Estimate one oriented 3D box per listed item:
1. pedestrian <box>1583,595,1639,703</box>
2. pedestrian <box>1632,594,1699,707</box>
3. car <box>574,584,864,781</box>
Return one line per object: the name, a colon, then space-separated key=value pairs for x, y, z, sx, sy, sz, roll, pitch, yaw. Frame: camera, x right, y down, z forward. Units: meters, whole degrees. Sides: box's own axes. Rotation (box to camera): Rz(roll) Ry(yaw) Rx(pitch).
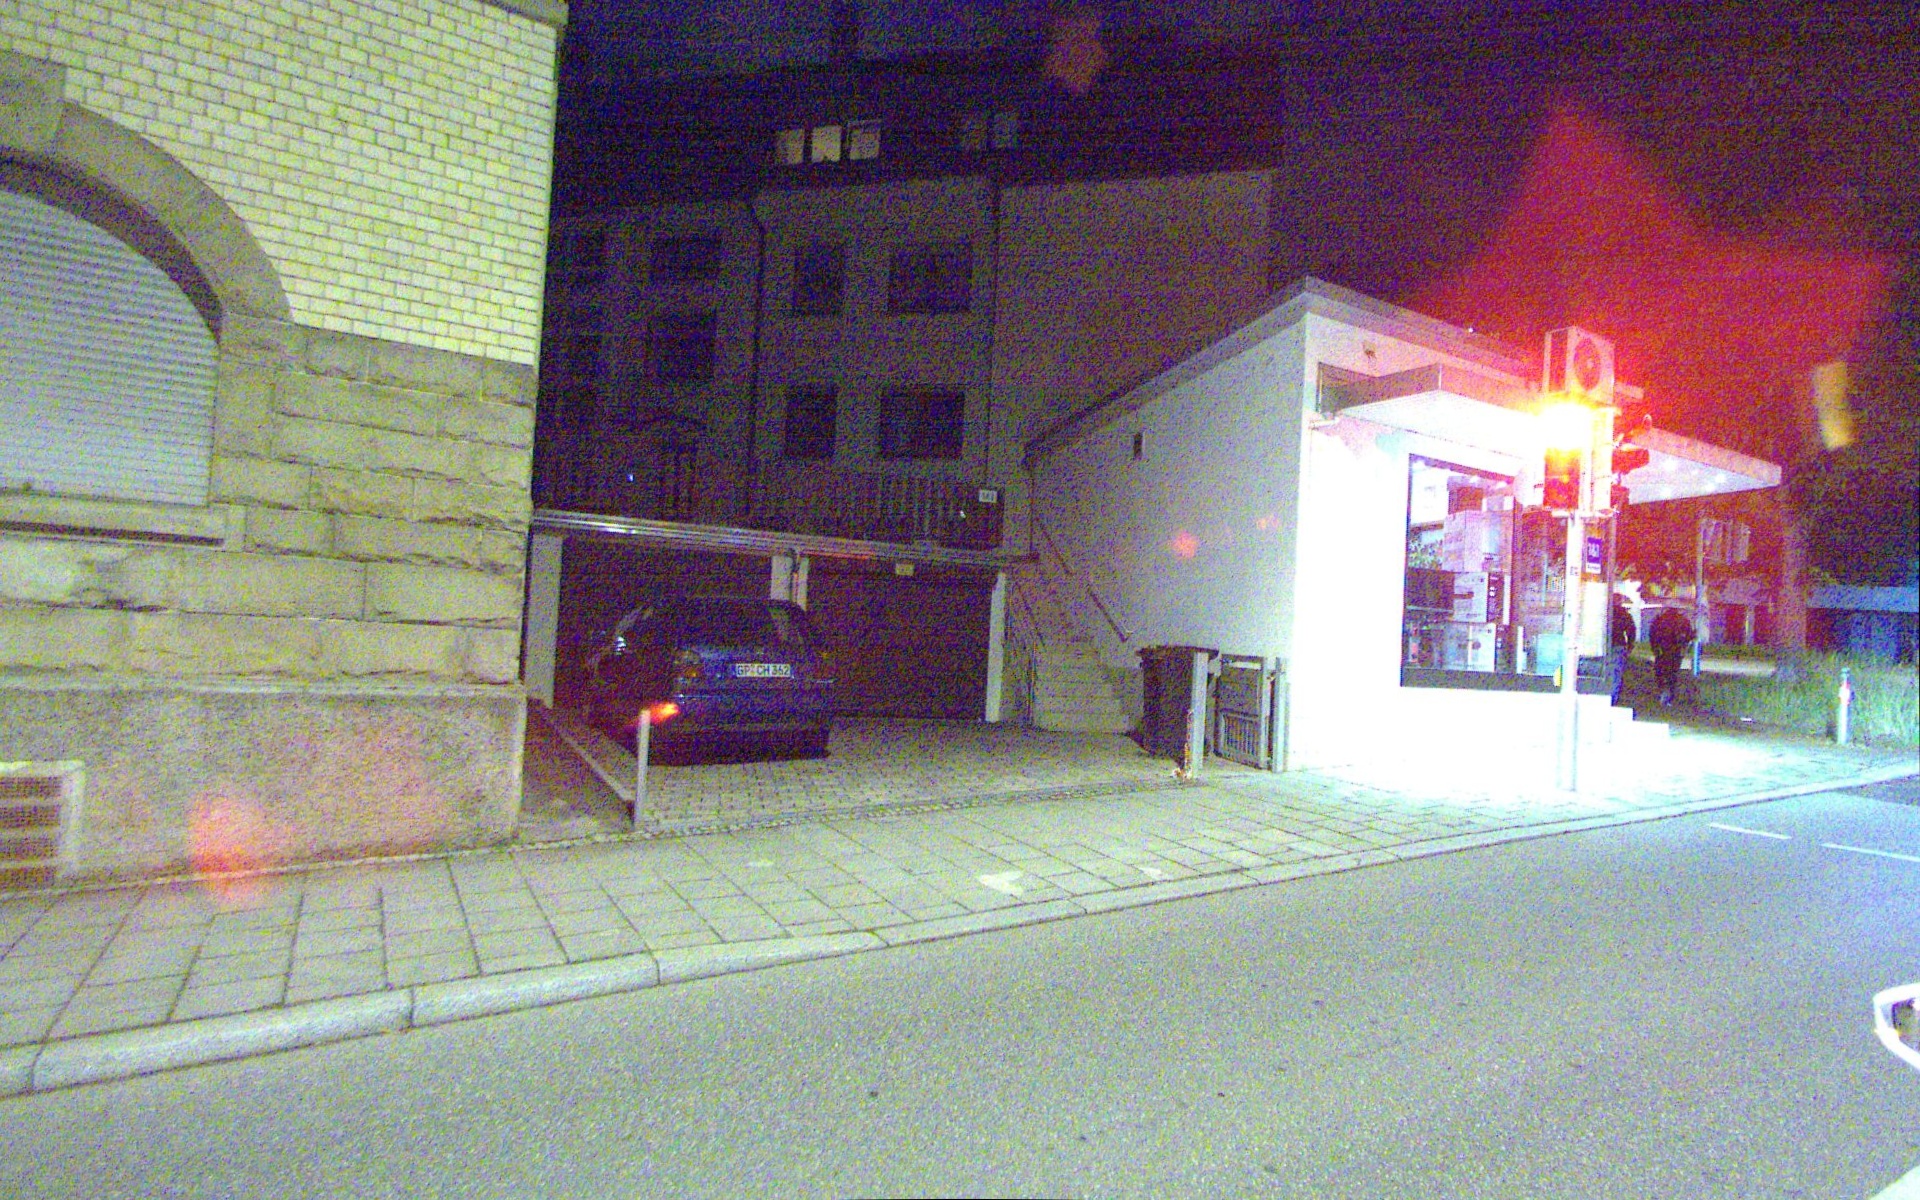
pedestrian: x=10.863 y=0.810 z=16.769 sx=0.537 sy=1.754 sz=0.567 roll=2 pitch=0 yaw=-30
pedestrian: x=11.566 y=0.817 z=16.475 sx=0.729 sy=1.801 sz=0.567 roll=2 pitch=2 yaw=-30
car: x=-2.461 y=0.623 z=9.577 sx=1.700 sy=1.460 sz=3.631 roll=2 pitch=0 yaw=-30
